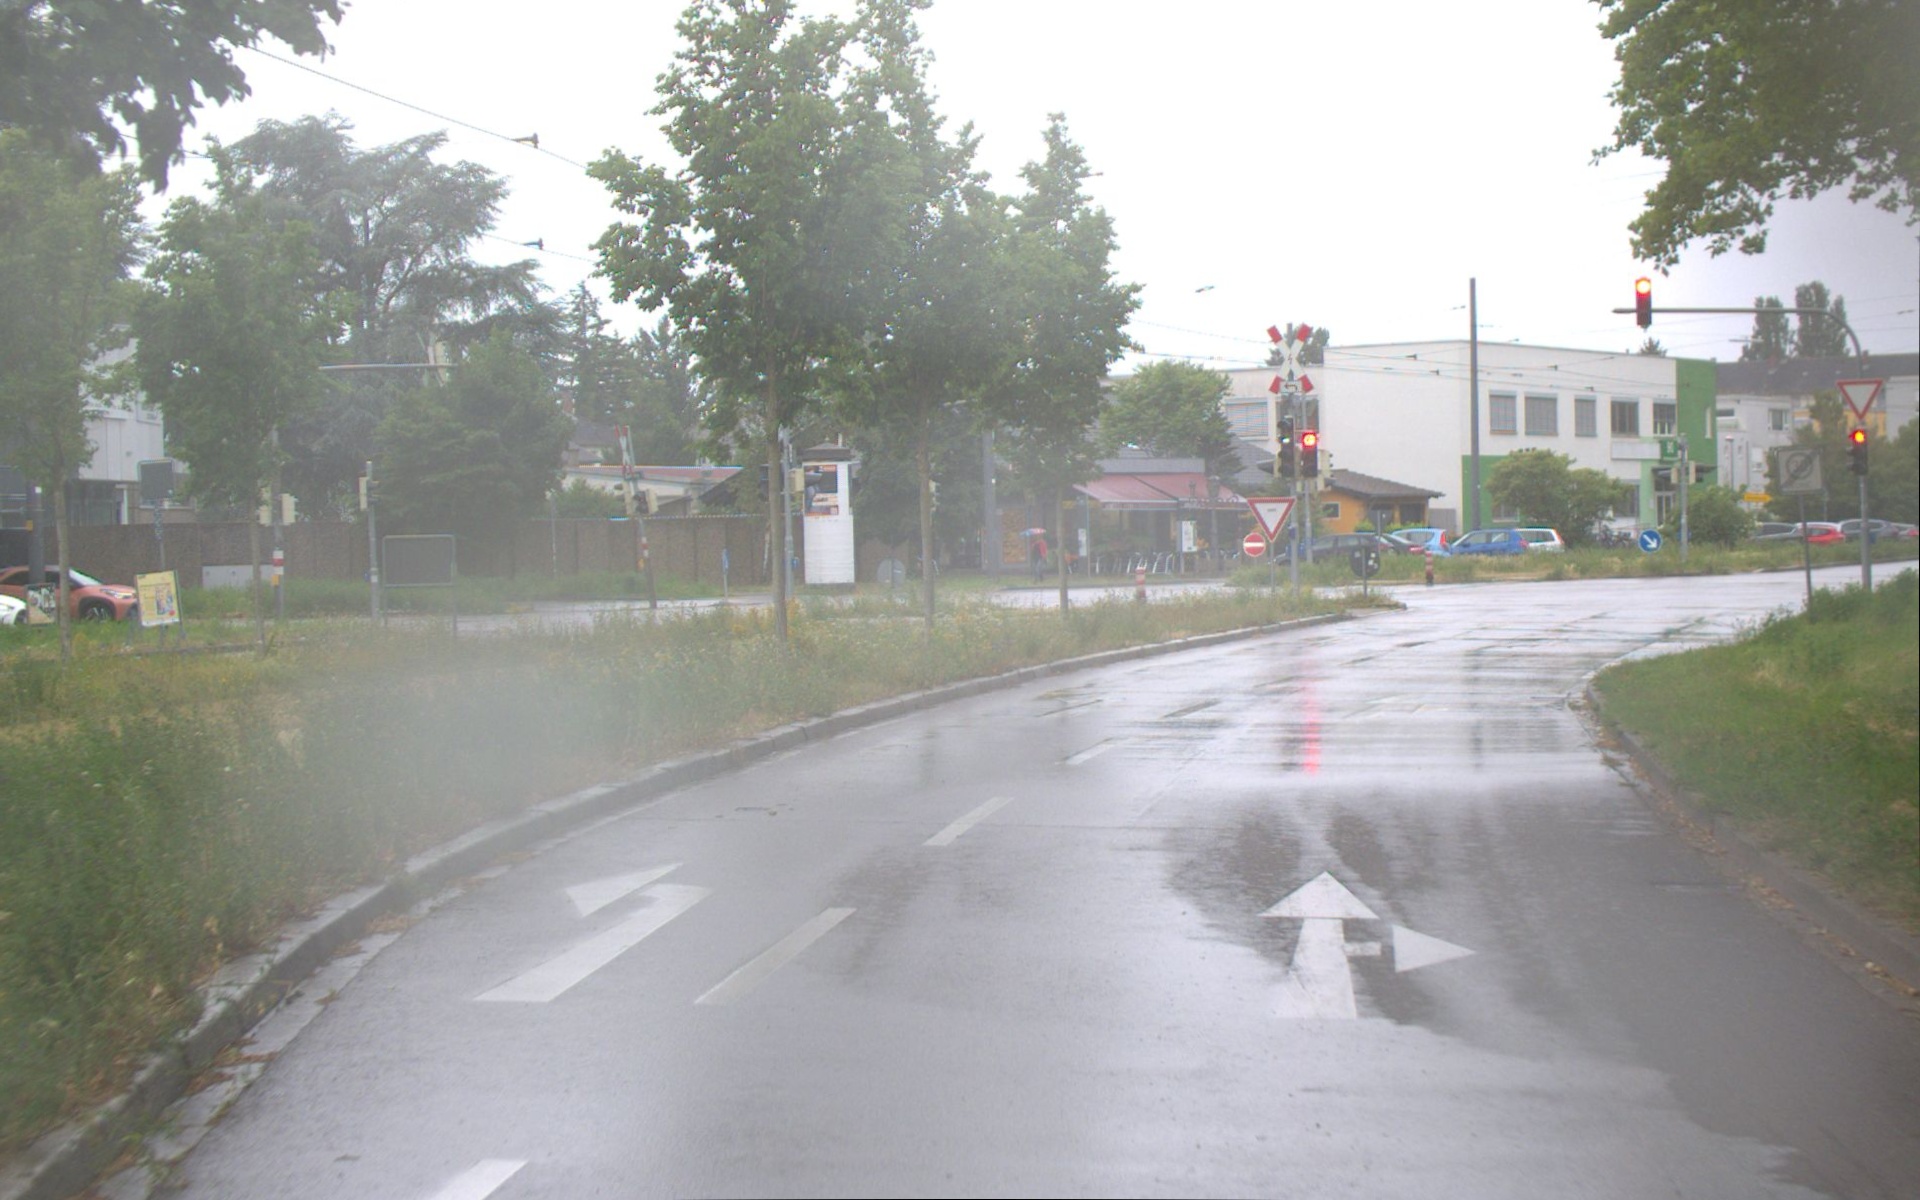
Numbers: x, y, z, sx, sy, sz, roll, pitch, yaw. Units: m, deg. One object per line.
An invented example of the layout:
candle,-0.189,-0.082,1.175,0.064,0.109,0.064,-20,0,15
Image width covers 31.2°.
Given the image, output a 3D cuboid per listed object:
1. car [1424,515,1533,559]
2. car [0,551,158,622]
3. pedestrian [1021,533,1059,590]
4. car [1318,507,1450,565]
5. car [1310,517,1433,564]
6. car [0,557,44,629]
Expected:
car,18.386,-2.229,121.955,3.751,1.437,1.762,-2,1,9
car,-20.155,-0.292,77.174,3.818,1.494,1.652,-2,1,4
pedestrian,2.476,-1.187,106.440,0.800,1.757,0.909,-2,1,-29
car,14.550,-2.184,117.914,4.139,1.853,1.672,-2,1,22
car,13.702,-1.978,114.552,3.753,1.437,1.761,-1,1,19
car,-21.892,-0.104,73.561,4.066,1.494,1.652,-2,1,4
